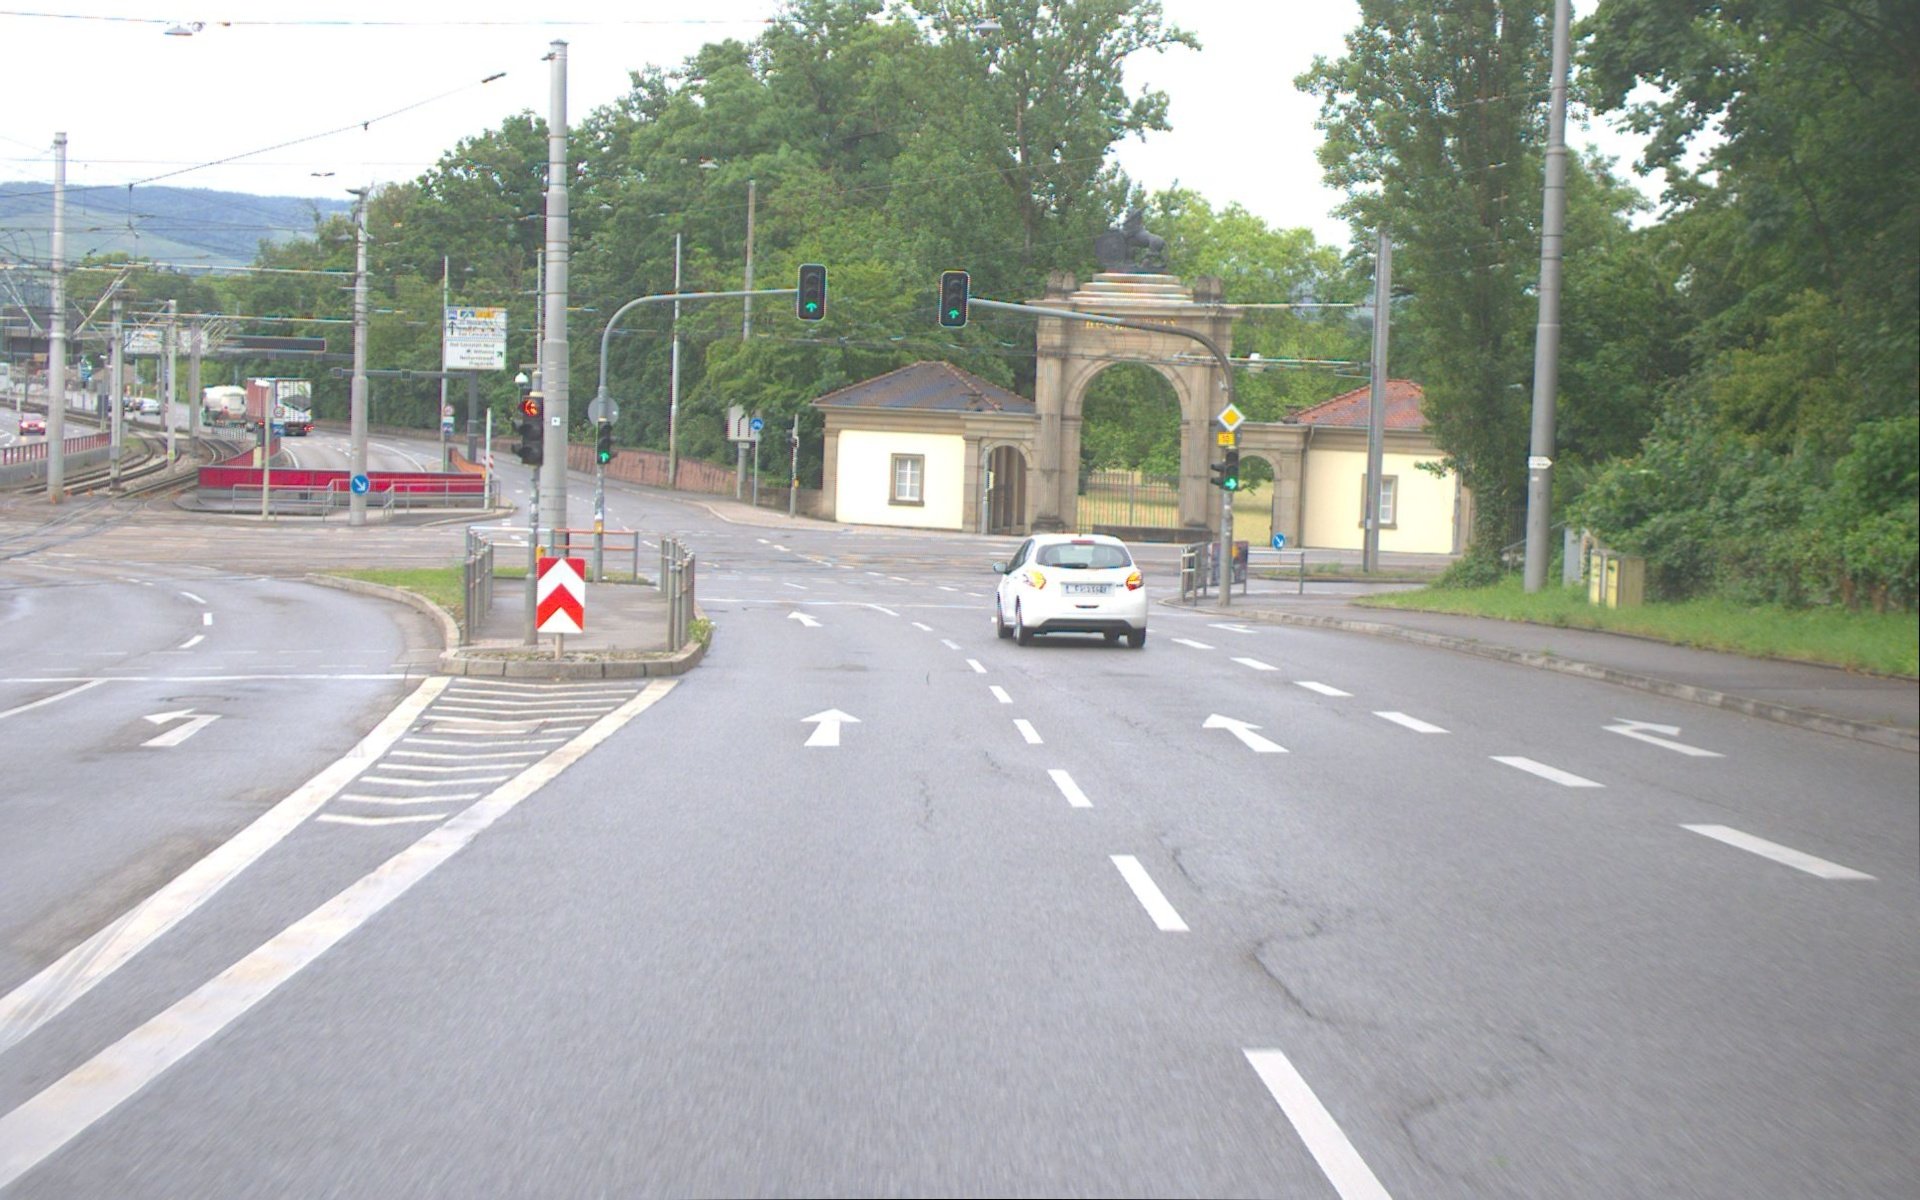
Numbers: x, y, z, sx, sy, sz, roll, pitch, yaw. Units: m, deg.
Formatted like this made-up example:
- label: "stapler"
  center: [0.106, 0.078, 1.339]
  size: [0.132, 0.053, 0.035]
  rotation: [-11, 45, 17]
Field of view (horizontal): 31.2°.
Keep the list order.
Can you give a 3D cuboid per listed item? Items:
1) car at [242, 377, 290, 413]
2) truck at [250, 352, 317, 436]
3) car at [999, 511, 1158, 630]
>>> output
- label: "car"
  center: [-36.429, -10.749, 180.409]
  size: [1.993, 1.866, 4.002]
  rotation: [-1, 3, -18]
- label: "truck"
  center: [-48.483, -14.678, 246.097]
  size: [3.463, 5.382, 12.056]
  rotation: [0, 1, -17]
- label: "car"
  center: [1.542, -0.395, 46.078]
  size: [1.955, 1.483, 4.000]
  rotation: [1, 0, 0]
